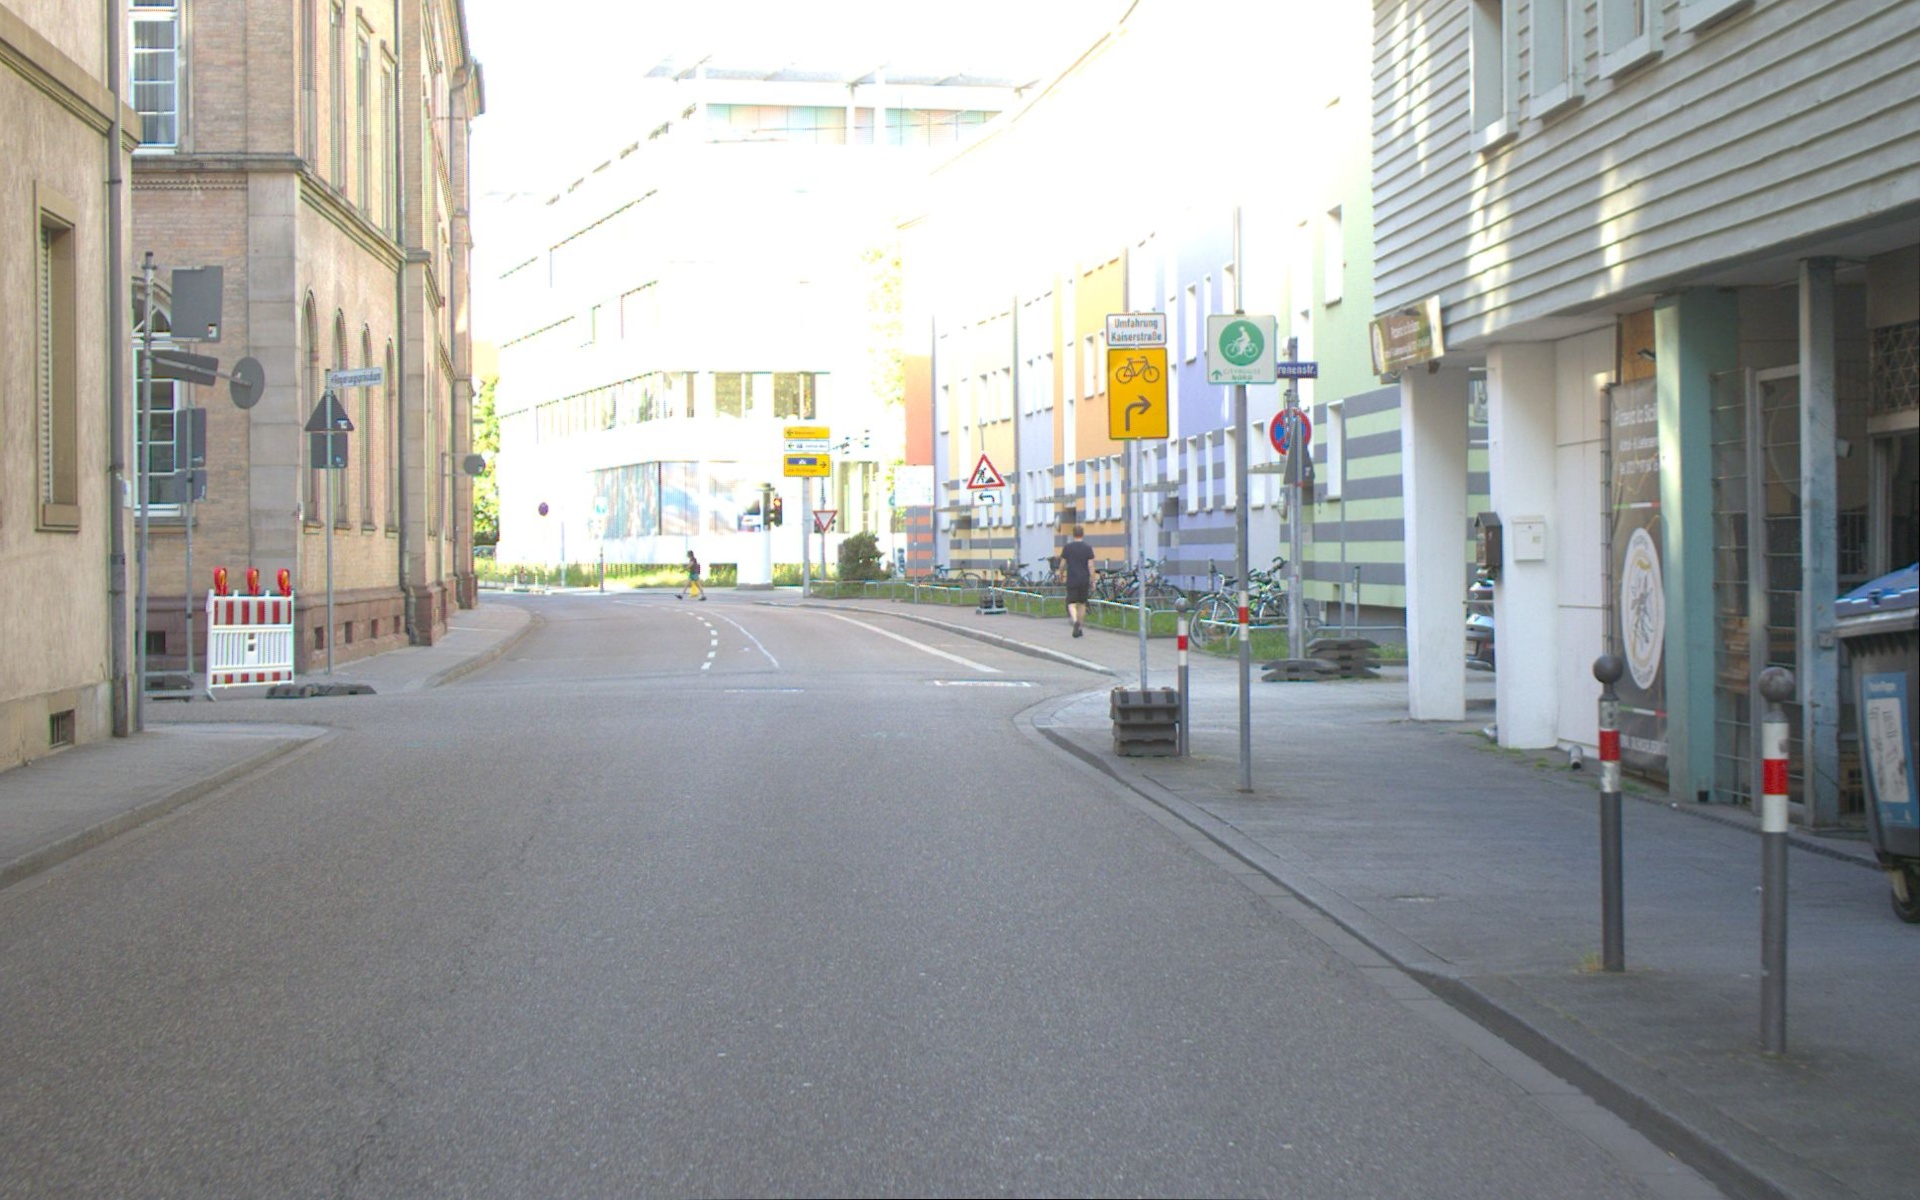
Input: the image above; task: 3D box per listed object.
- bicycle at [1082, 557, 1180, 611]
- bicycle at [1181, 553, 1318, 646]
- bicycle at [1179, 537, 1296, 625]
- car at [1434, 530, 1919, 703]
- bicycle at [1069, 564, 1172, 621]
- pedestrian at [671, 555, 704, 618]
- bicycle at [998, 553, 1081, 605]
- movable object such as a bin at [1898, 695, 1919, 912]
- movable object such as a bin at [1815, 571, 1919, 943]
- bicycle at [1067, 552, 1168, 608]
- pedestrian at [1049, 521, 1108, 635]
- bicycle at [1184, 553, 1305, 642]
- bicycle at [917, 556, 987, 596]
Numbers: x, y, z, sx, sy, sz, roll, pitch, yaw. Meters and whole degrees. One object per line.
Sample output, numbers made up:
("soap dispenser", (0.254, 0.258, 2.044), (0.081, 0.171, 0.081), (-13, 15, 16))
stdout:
("bicycle", (3.148, -0.296, 63.217), (1.748, 0.943, 0.326), (-2, 1, -4))
("bicycle", (4.001, -0.012, 47.605), (1.748, 1.137, 0.552), (-4, 2, -5))
("bicycle", (3.977, -0.277, 49.282), (1.602, 1.137, 0.237), (-4, 2, -13))
("car", (6.636, 0.127, 32.010), (4.078, 1.477, 1.866), (-1, 1, -4))
("bicycle", (2.870, -0.134, 61.470), (1.748, 0.943, 0.552), (-2, 1, -5))
("pedestrian", (-8.723, -0.437, 109.935), (0.895, 2.007, 0.753), (-2, 1, -13))
("bicycle", (1.806, -0.480, 78.232), (1.810, 1.133, 0.552), (-1, 1, -6))
("movable object such as a bin", (4.267, 0.838, 14.253), (0.556, 0.896, 0.523), (-2, -1, -2))
("movable object such as a bin", (4.010, 0.573, 13.278), (0.981, 1.380, 1.321), (-2, -1, -2))
("bicycle", (2.844, -0.364, 62.196), (1.748, 0.943, 0.552), (-2, 1, -5))
("pedestrian", (1.880, -0.356, 54.532), (0.696, 1.754, 1.189), (-4, 1, -5))
("bicycle", (4.059, -0.037, 49.027), (1.640, 1.137, 0.283), (-4, 2, -13))
("bicycle", (-0.214, -0.640, 92.229), (1.753, 1.000, 0.613), (-3, 1, -9))
